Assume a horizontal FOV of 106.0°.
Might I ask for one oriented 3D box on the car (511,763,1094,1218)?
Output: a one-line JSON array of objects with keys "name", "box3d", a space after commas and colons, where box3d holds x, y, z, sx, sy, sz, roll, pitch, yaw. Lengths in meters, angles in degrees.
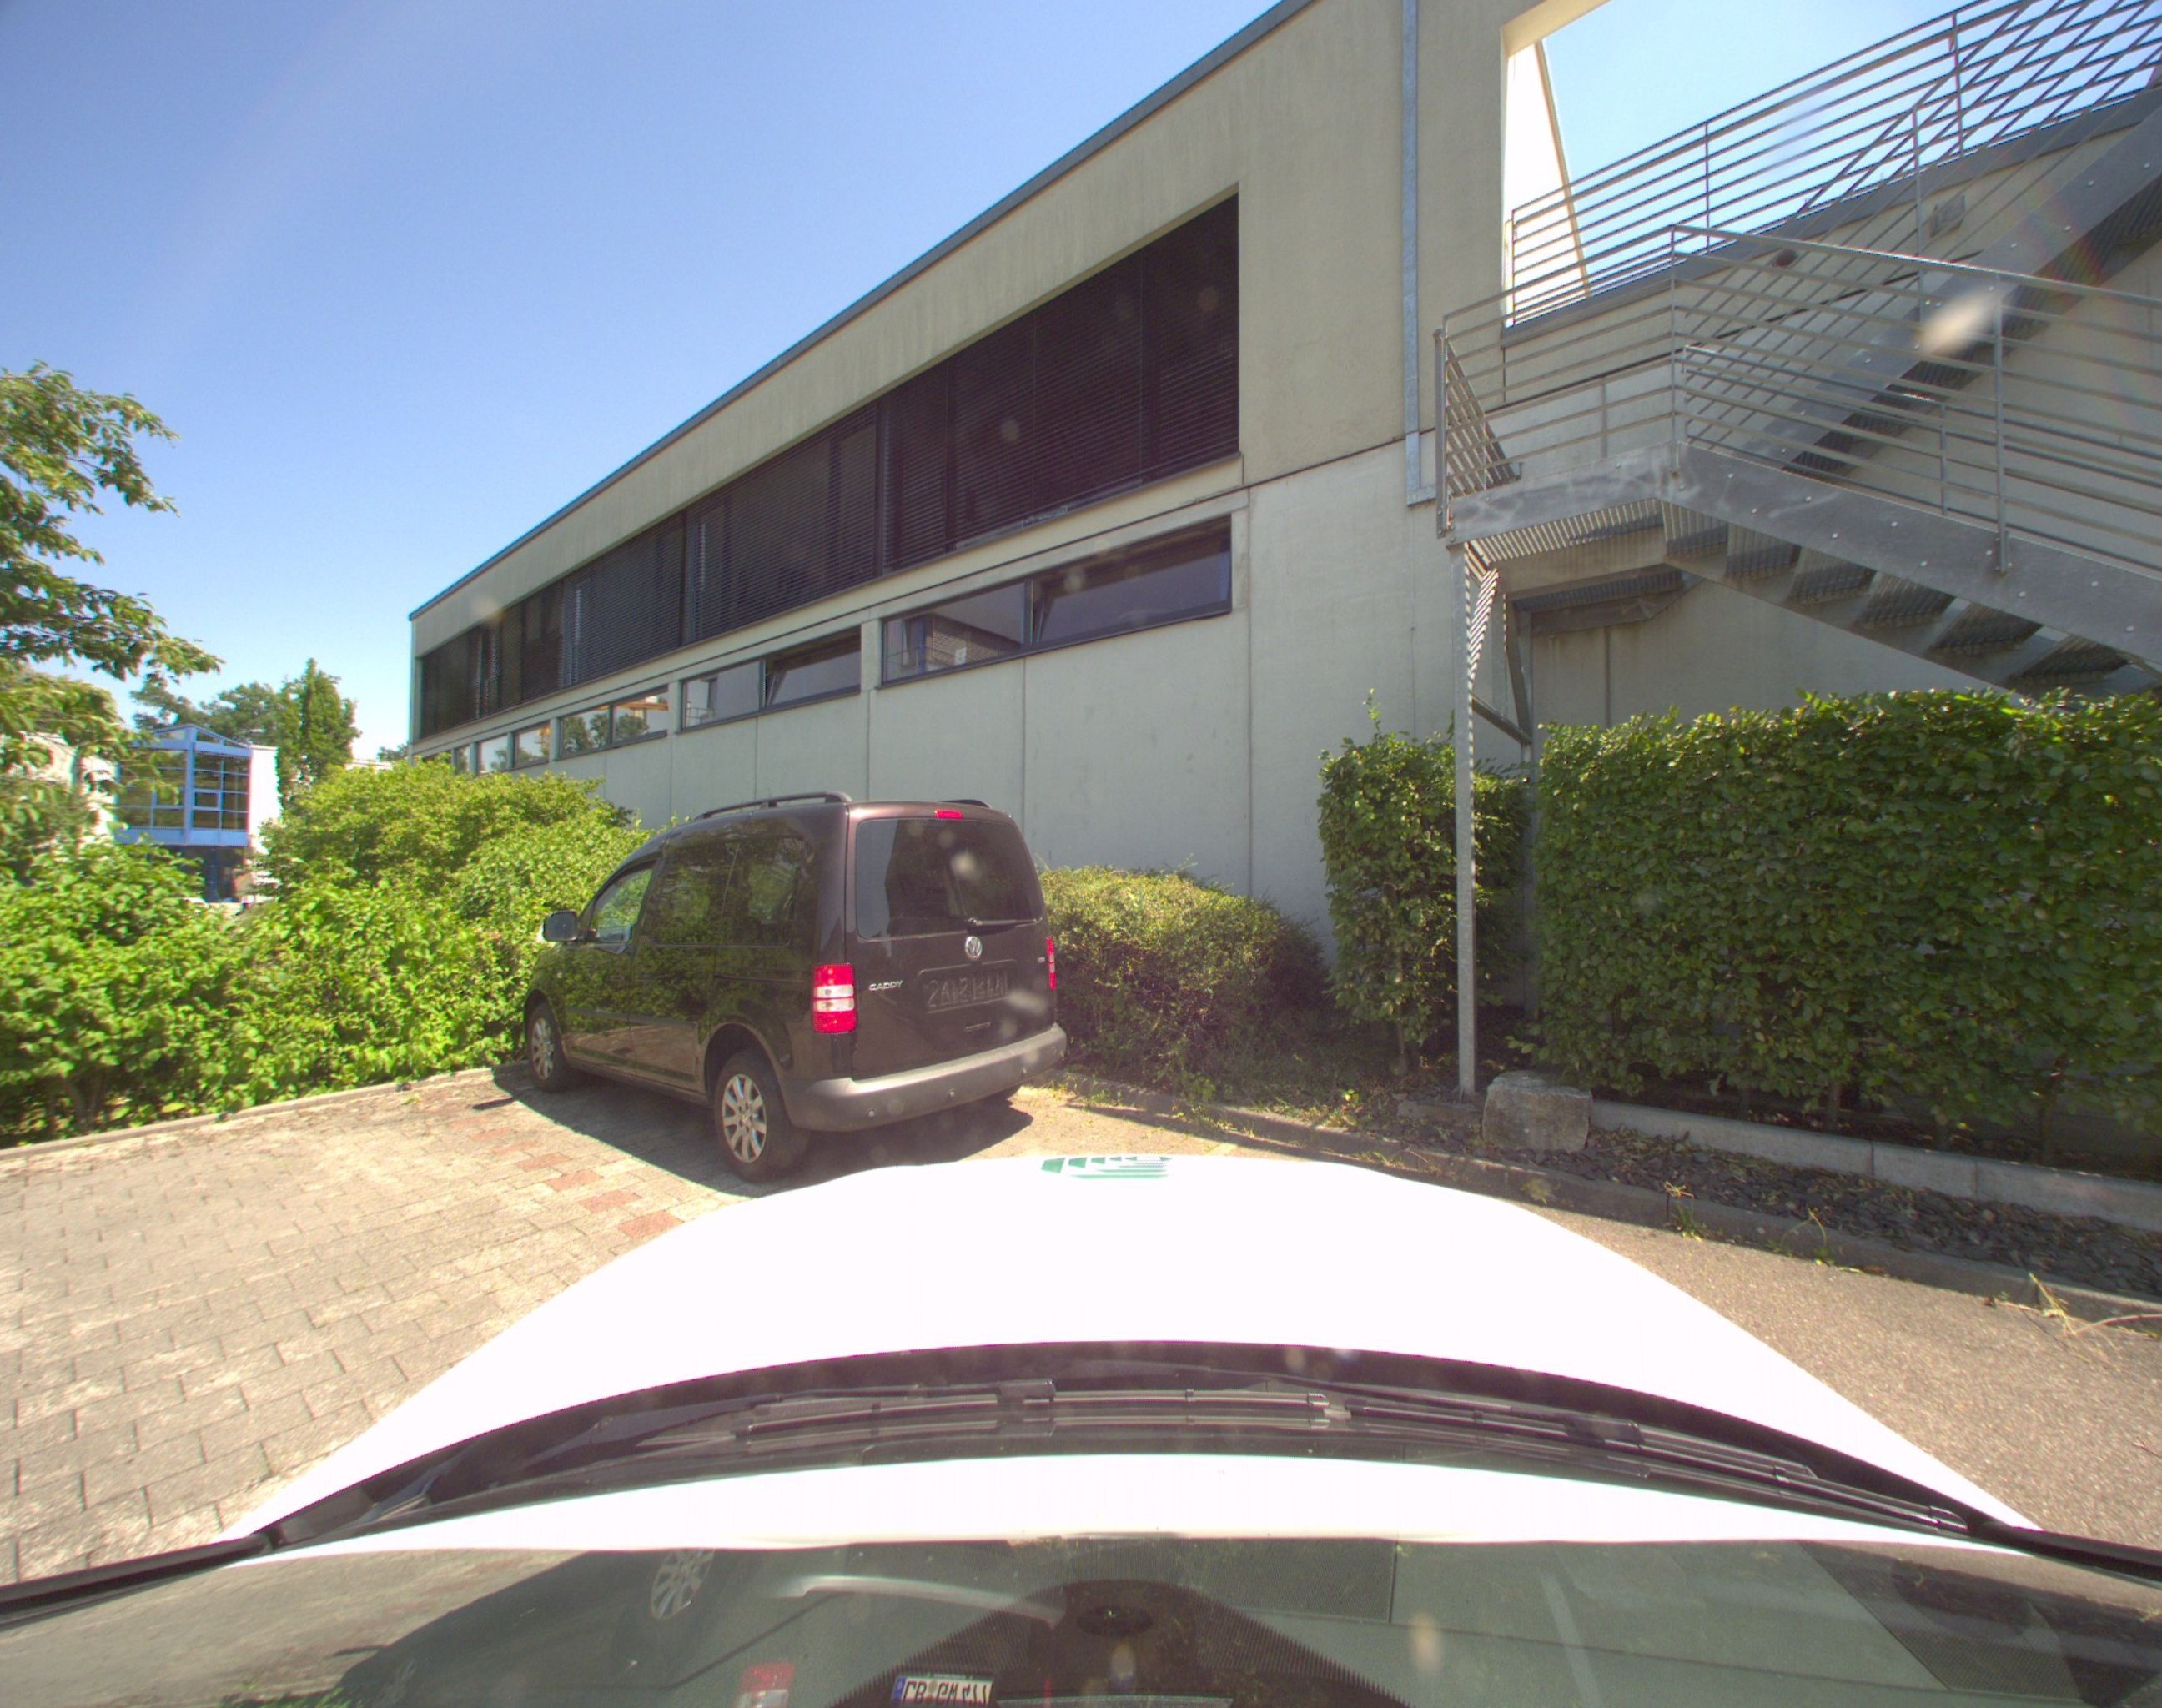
[{"name": "car", "box3d": [-2.027, 0.584, 5.293, 4.019, 1.884, 1.689, -1, -1, 39]}]
